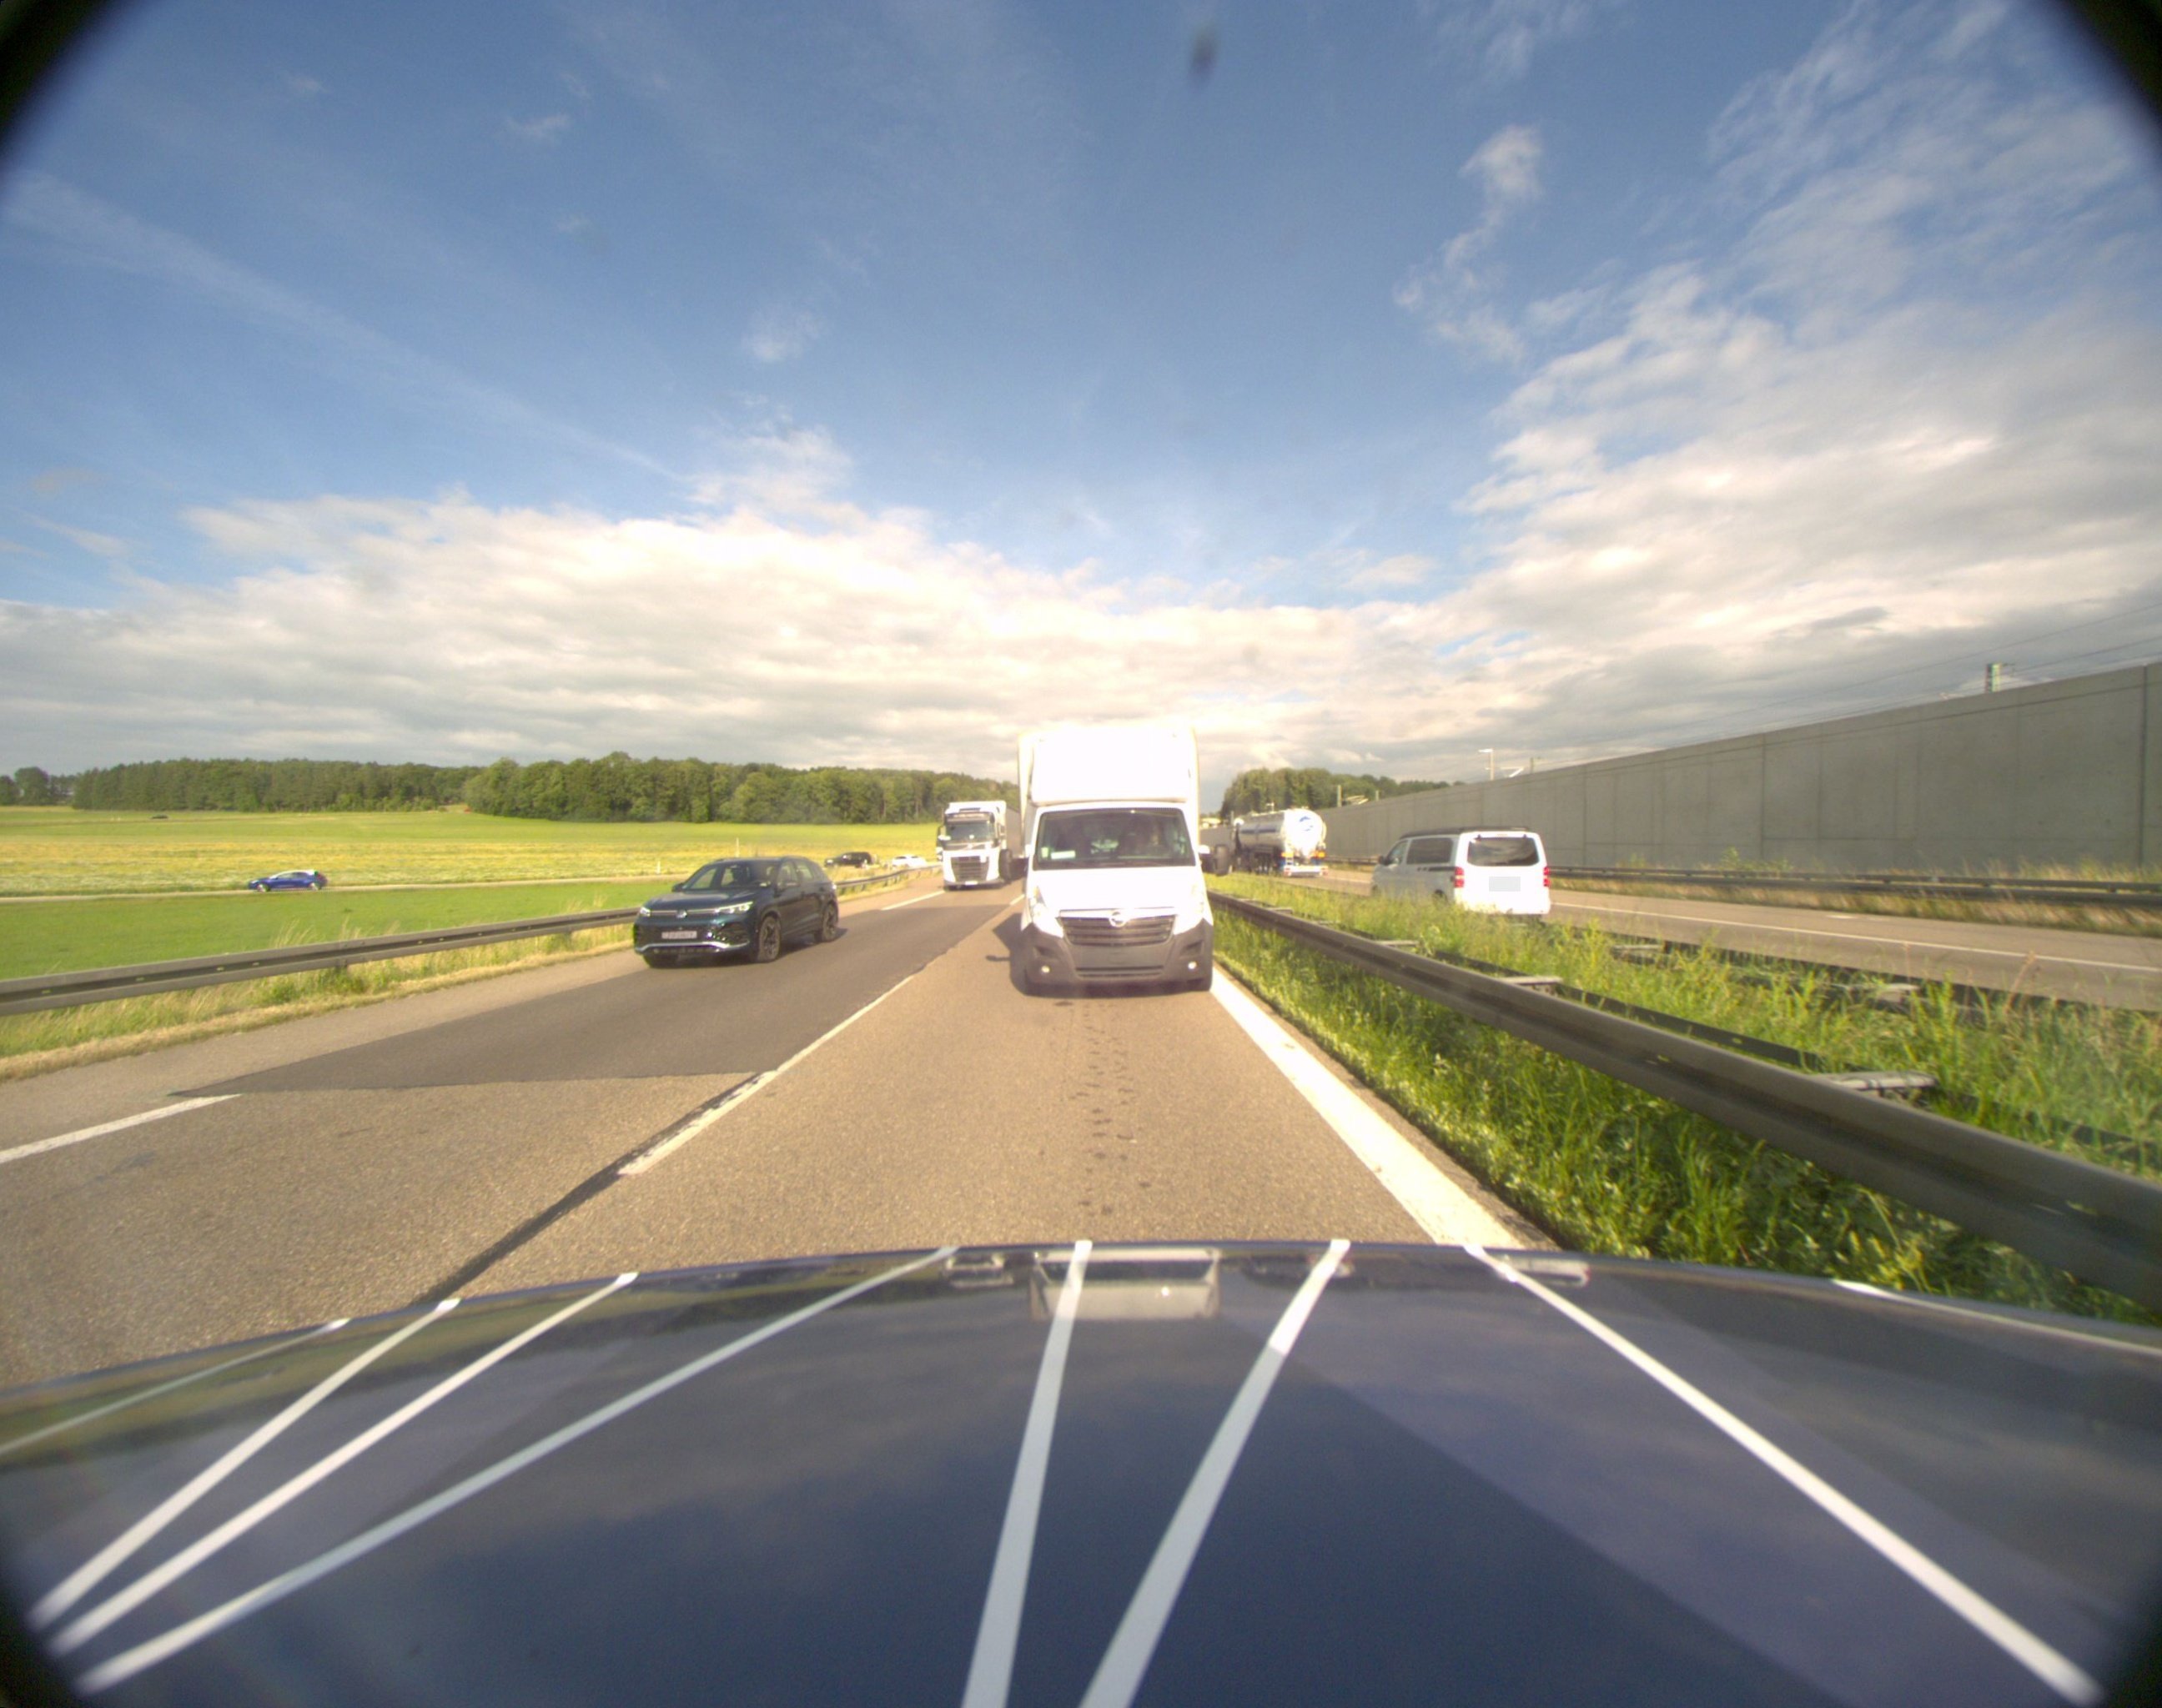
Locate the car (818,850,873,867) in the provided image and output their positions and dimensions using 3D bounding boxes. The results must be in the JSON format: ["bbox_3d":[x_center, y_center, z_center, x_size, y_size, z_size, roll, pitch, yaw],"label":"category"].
[{"bbox_3d":[-25.106,0.494,81.089,5.130,1.548,1.995,-3,1,-40],"label":"car"}]

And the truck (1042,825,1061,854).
[{"bbox_3d":[-3.940,-1.941,101.532,1.998,3.663,5.931,-2,1,1],"label":"truck"}]

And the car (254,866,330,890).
[{"bbox_3d":[-57.536,1.732,55.505,3.567,1.521,1.720,-3,1,-37],"label":"car"}]

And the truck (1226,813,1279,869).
[{"bbox_3d":[12.146,-0.944,54.277,2.559,3.776,5.416,0,1,0],"label":"truck"}]

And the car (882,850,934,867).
[{"bbox_3d":[-17.407,0.414,76.439,5.067,1.537,2.003,-2,1,29],"label":"car"}]

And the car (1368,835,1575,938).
[{"bbox_3d":[7.998,0.556,16.216,1.998,1.873,4.786,1,1,1],"label":"car"}]

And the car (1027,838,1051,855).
[{"bbox_3d":[-4.154,-0.772,75.924,1.998,1.647,4.000,-2,1,1],"label":"car"}]

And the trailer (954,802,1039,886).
[{"bbox_3d":[-4.420,-0.572,42.709,2.826,3.959,12.128,-2,1,2],"label":"trailer"}]

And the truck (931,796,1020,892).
[{"bbox_3d":[-4.743,-0.458,35.577,2.842,3.967,6.501,-2,1,2],"label":"truck"}]

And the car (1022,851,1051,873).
[{"bbox_3d":[-3.660,0.649,62.988,1.998,1.647,4.000,-2,1,1],"label":"car"}]

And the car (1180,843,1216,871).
[{"bbox_3d":[8.181,0.181,53.465,1.864,1.823,4.280,-2,1,1],"label":"car"}]

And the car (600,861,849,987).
[{"bbox_3d":[-5.592,0.997,12.626,1.998,1.587,4.119,-2,1,2],"label":"car"}]

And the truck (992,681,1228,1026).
[{"bbox_3d":[0.420,-0.052,10.861,2.059,3.088,7.803,-2,1,2],"label":"truck"}]

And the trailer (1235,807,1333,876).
[{"bbox_3d":[12.230,-0.781,47.351,2.547,3.749,12.537,0,1,-1],"label":"trailer"}]
